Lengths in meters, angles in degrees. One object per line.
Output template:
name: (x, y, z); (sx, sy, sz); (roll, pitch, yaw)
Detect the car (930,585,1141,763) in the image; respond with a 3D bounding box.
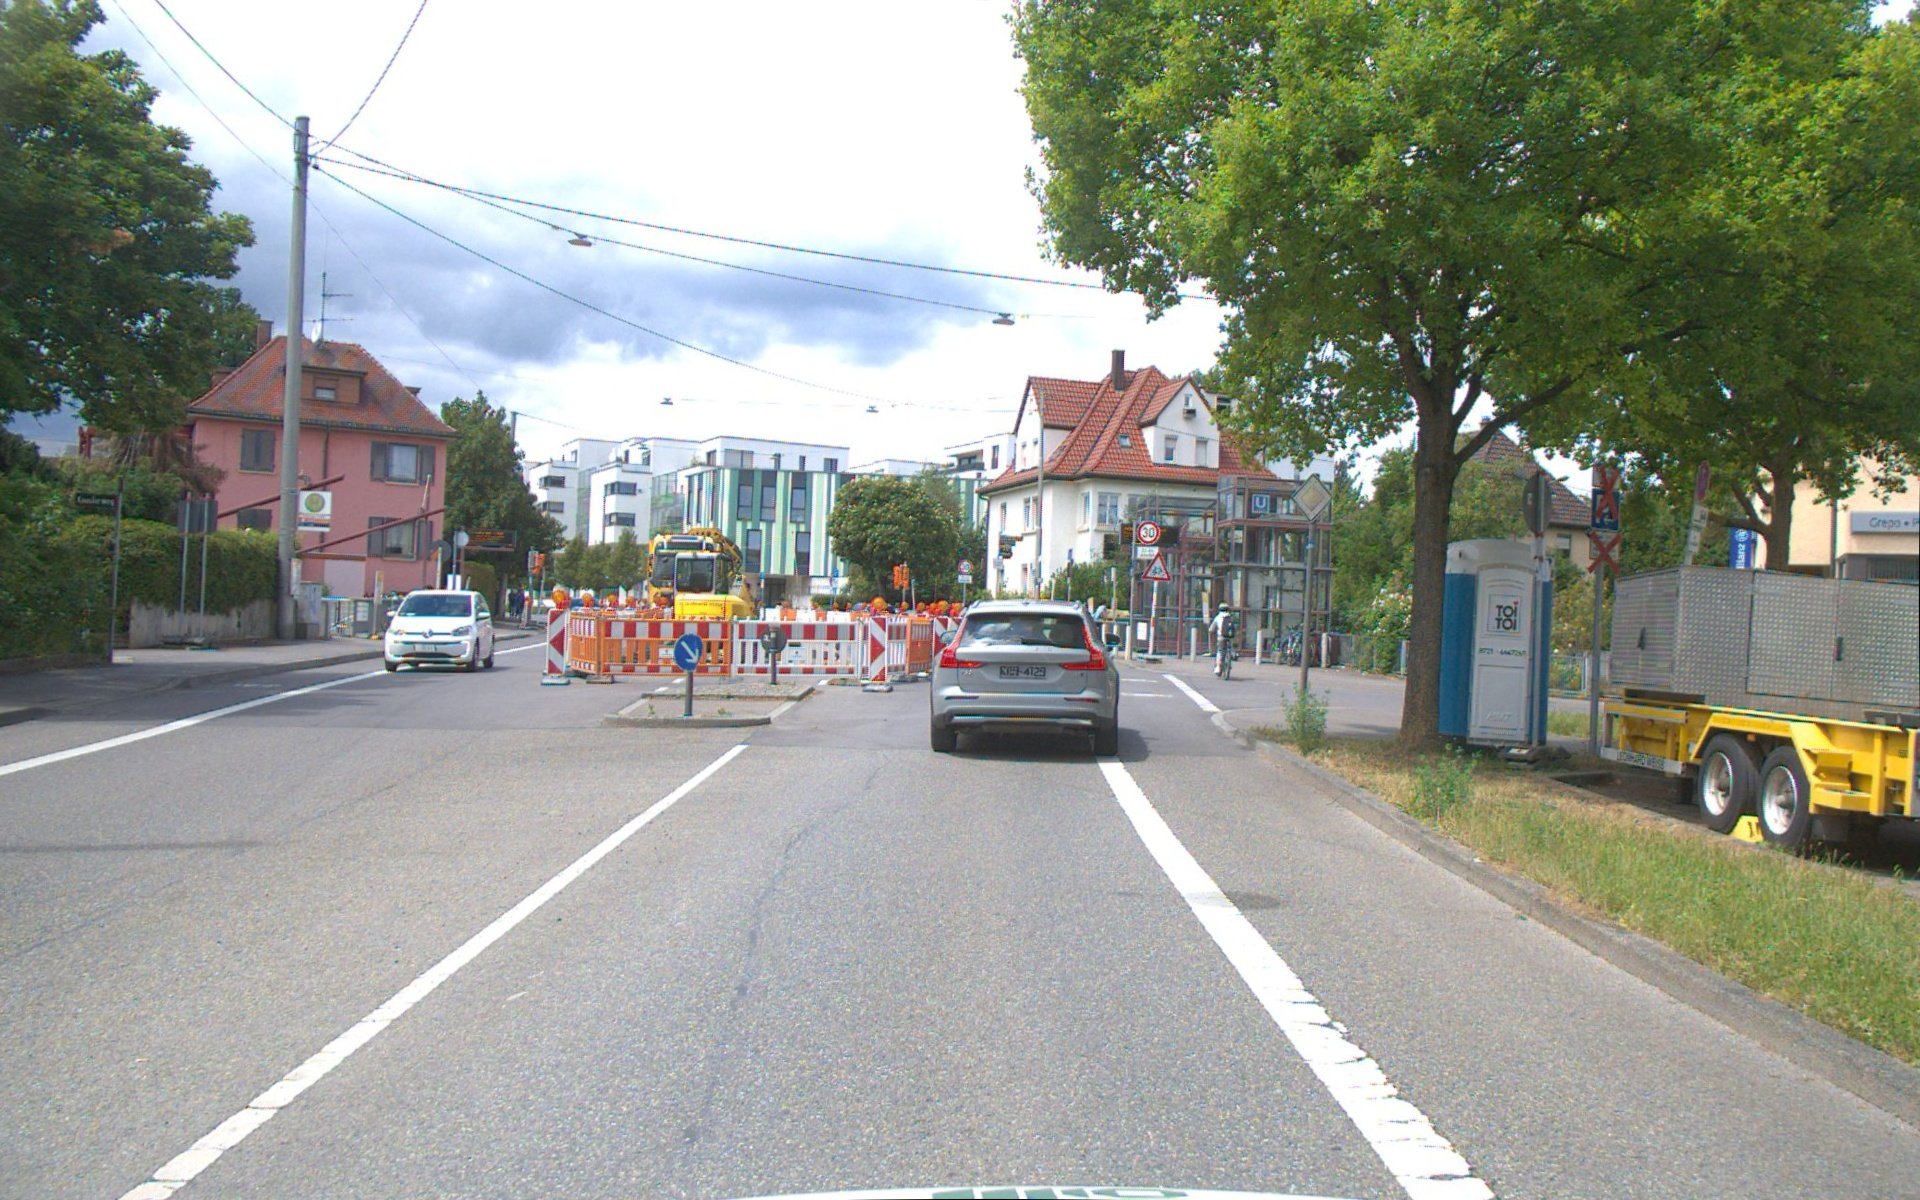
car: (0.807, 0.671, 17.105); (1.887, 1.567, 4.002); (2, 0, 3)

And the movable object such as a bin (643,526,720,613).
movable object such as a bin: (-10.605, -1.104, 62.511); (2.272, 3.042, 6.402); (2, 0, -14)

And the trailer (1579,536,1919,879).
trailer: (6.952, 0.731, 12.509); (2.341, 2.067, 5.511); (3, -1, -1)

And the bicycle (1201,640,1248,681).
bicycle: (5.895, 1.335, 36.880); (0.583, 0.826, 1.752); (4, -2, -5)

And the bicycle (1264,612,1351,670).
bicycle: (9.015, 1.034, 43.143); (1.363, 1.210, 3.471); (4, 2, -2)

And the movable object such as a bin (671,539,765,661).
movable object such as a bin: (-5.806, -0.015, 40.261); (1.996, 2.689, 5.931); (2, 0, -6)

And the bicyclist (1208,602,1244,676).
bicyclist: (5.926, 0.866, 36.909); (0.577, 1.586, 0.566); (4, -2, -5)

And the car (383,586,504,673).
car: (-9.720, 0.582, 31.391); (1.855, 1.534, 3.986); (0, -2, -13)
